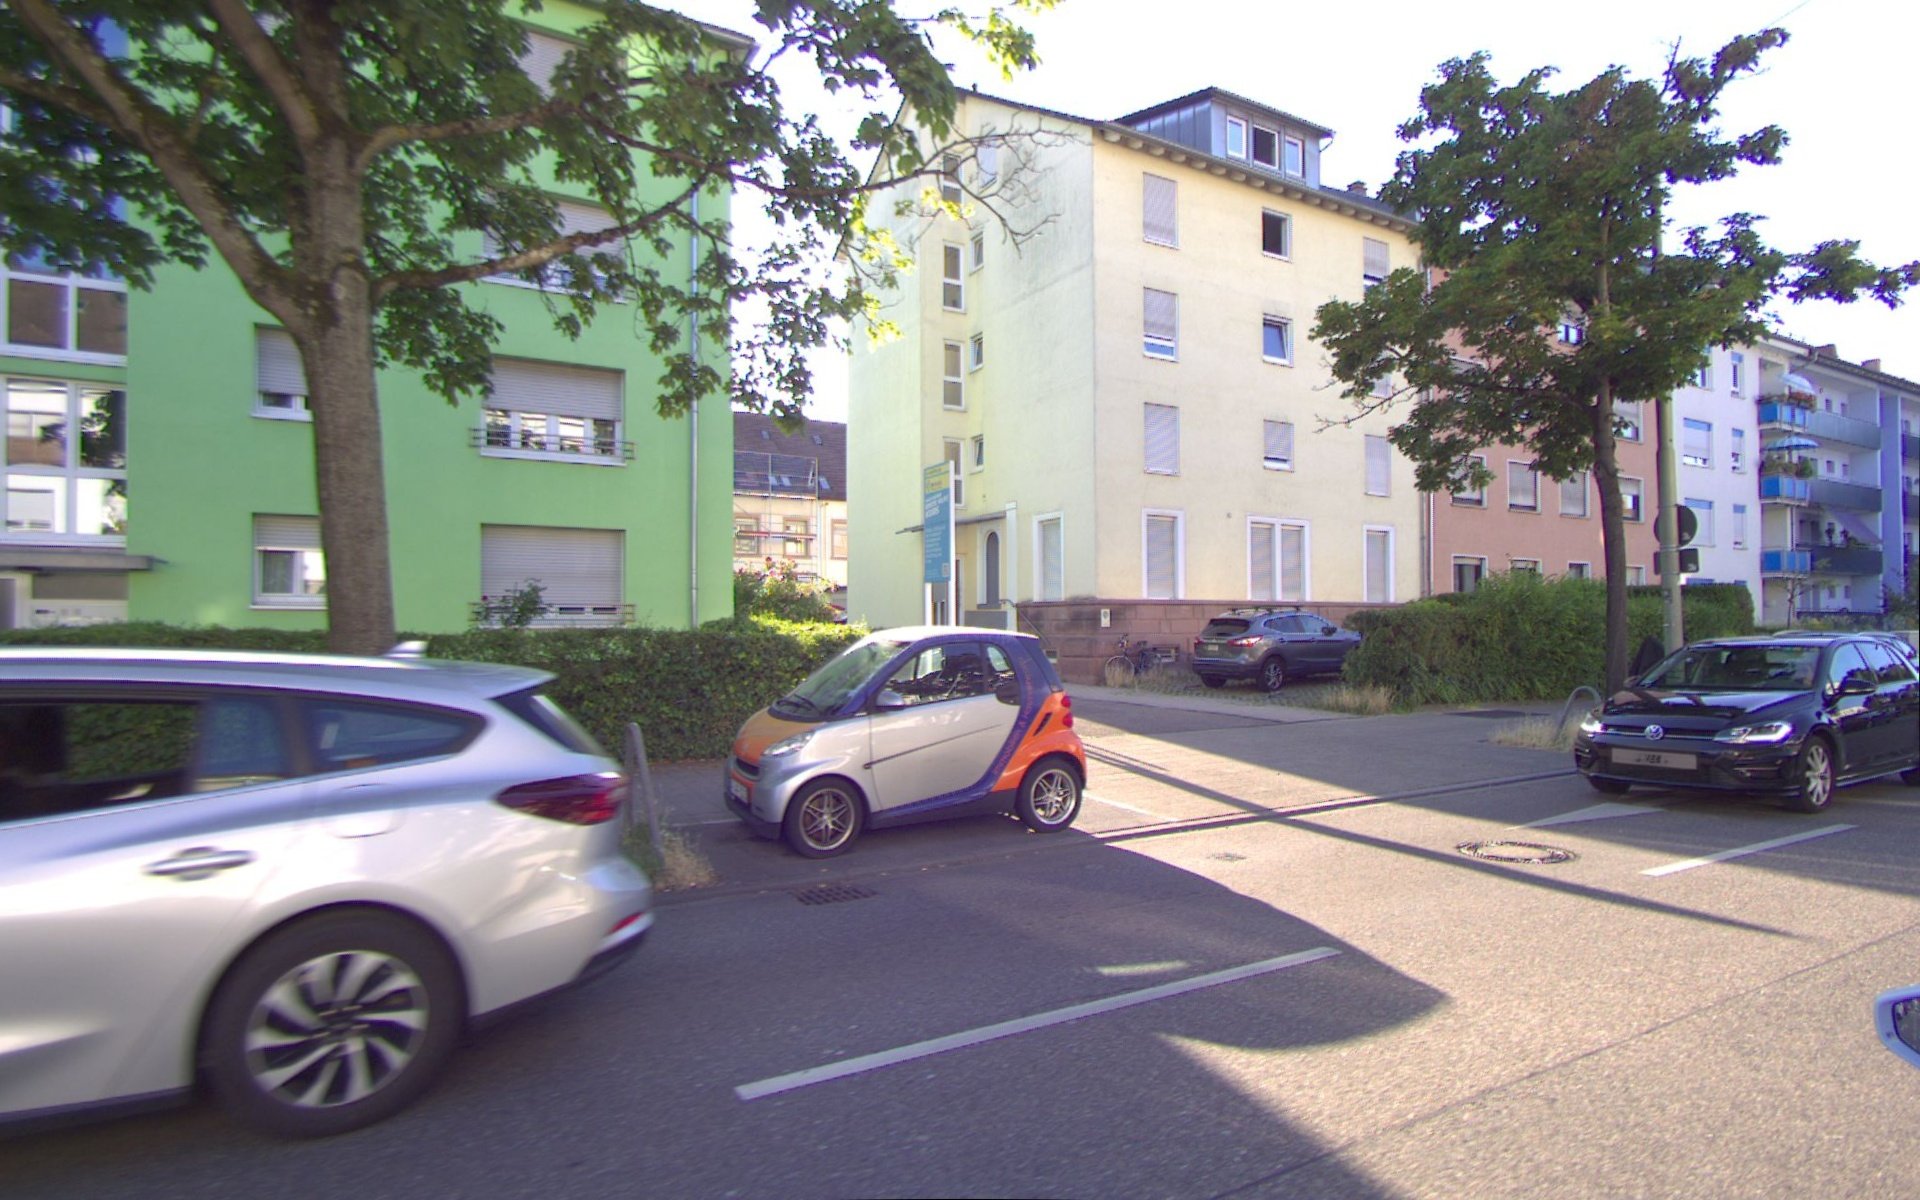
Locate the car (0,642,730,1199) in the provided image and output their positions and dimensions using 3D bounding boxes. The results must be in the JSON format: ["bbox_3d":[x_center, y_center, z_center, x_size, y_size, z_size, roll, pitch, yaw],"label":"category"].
[{"bbox_3d":[-3.164,0.955,3.221,4.398,1.489,1.824,0,-5,-30],"label":"car"}]

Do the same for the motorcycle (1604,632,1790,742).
[{"bbox_3d":[10.426,1.191,14.327,1.991,1.407,0.989,1,-1,29],"label":"motorcycle"}]

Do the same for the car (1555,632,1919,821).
[{"bbox_3d":[7.634,1.056,9.522,3.981,1.422,1.692,0,-4,-31],"label":"car"}]

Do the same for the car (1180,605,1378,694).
[{"bbox_3d":[6.719,1.007,21.101,3.954,1.705,1.818,1,-2,-31],"label":"car"}]

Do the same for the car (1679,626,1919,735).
[{"bbox_3d":[13.705,1.190,16.194,4.535,1.524,1.770,0,-1,-31],"label":"car"}]

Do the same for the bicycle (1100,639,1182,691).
[{"bbox_3d":[4.099,1.451,22.688,1.975,1.103,0.482,0,-1,-30],"label":"bicycle"}]

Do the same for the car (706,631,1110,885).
[{"bbox_3d":[-0.415,1.075,7.909,2.824,1.638,1.494,0,-1,-27],"label":"car"}]

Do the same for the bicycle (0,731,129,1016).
[{"bbox_3d":[-4.889,1.340,5.214,0.553,1.104,1.668,0,0,-28],"label":"bicycle"}]
